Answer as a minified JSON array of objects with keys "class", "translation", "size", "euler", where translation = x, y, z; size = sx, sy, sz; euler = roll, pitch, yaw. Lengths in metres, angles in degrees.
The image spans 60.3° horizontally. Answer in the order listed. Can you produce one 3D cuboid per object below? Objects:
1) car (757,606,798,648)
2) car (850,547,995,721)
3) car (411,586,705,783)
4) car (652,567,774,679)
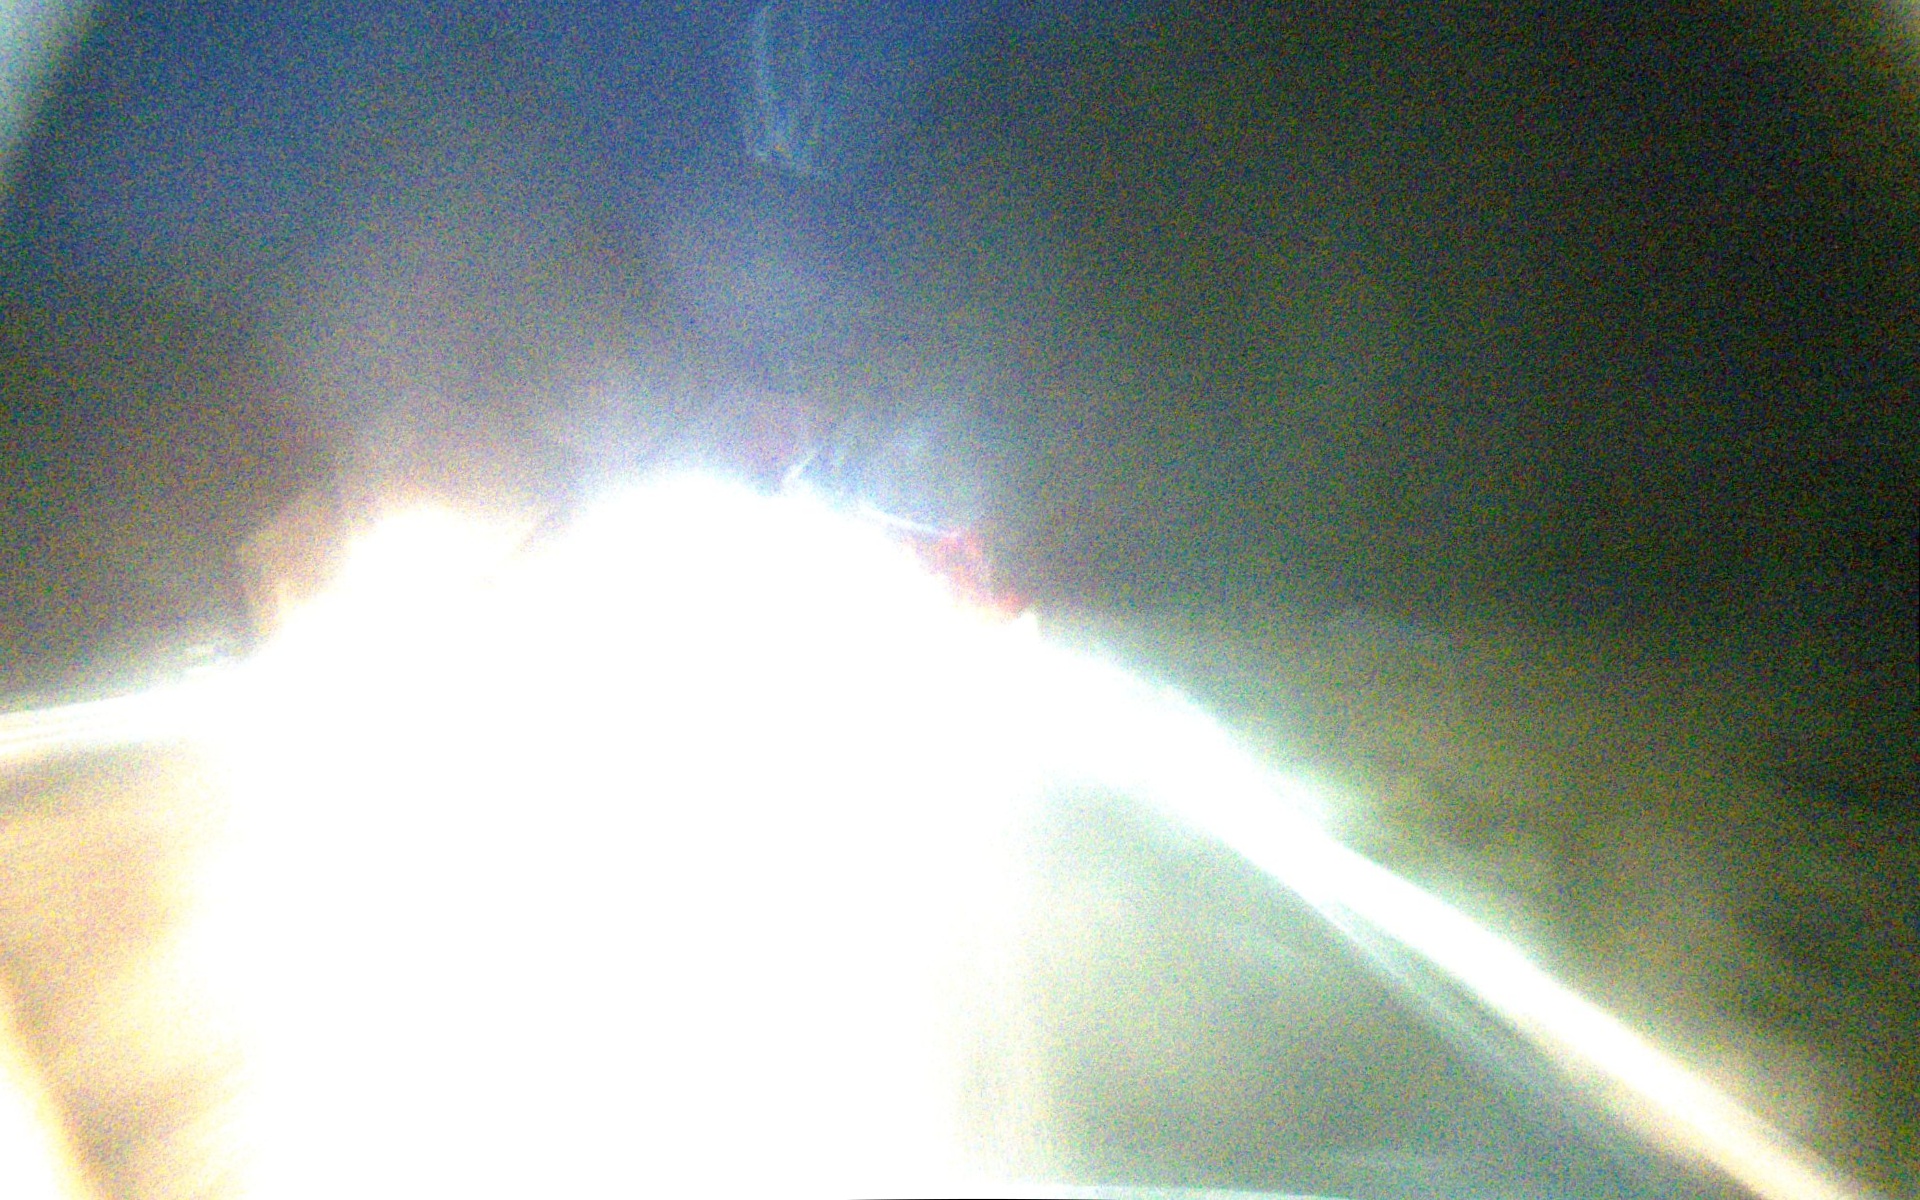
[{"class":"car","translation":[-7.407,1.067,67.340],"size":[1.564,1.536,3.596],"euler":[-2,1,-5]},{"class":"car","translation":[-0.715,0.535,27.885],"size":[2.138,2.602,4.504],"euler":[3,0,-4]},{"class":"car","translation":[-3.468,0.666,15.006],"size":[1.814,1.515,3.991],"euler":[1,0,-3]},{"class":"car","translation":[-4.883,0.443,33.278],"size":[1.953,2.104,4.344],"euler":[0,0,-2]}]
